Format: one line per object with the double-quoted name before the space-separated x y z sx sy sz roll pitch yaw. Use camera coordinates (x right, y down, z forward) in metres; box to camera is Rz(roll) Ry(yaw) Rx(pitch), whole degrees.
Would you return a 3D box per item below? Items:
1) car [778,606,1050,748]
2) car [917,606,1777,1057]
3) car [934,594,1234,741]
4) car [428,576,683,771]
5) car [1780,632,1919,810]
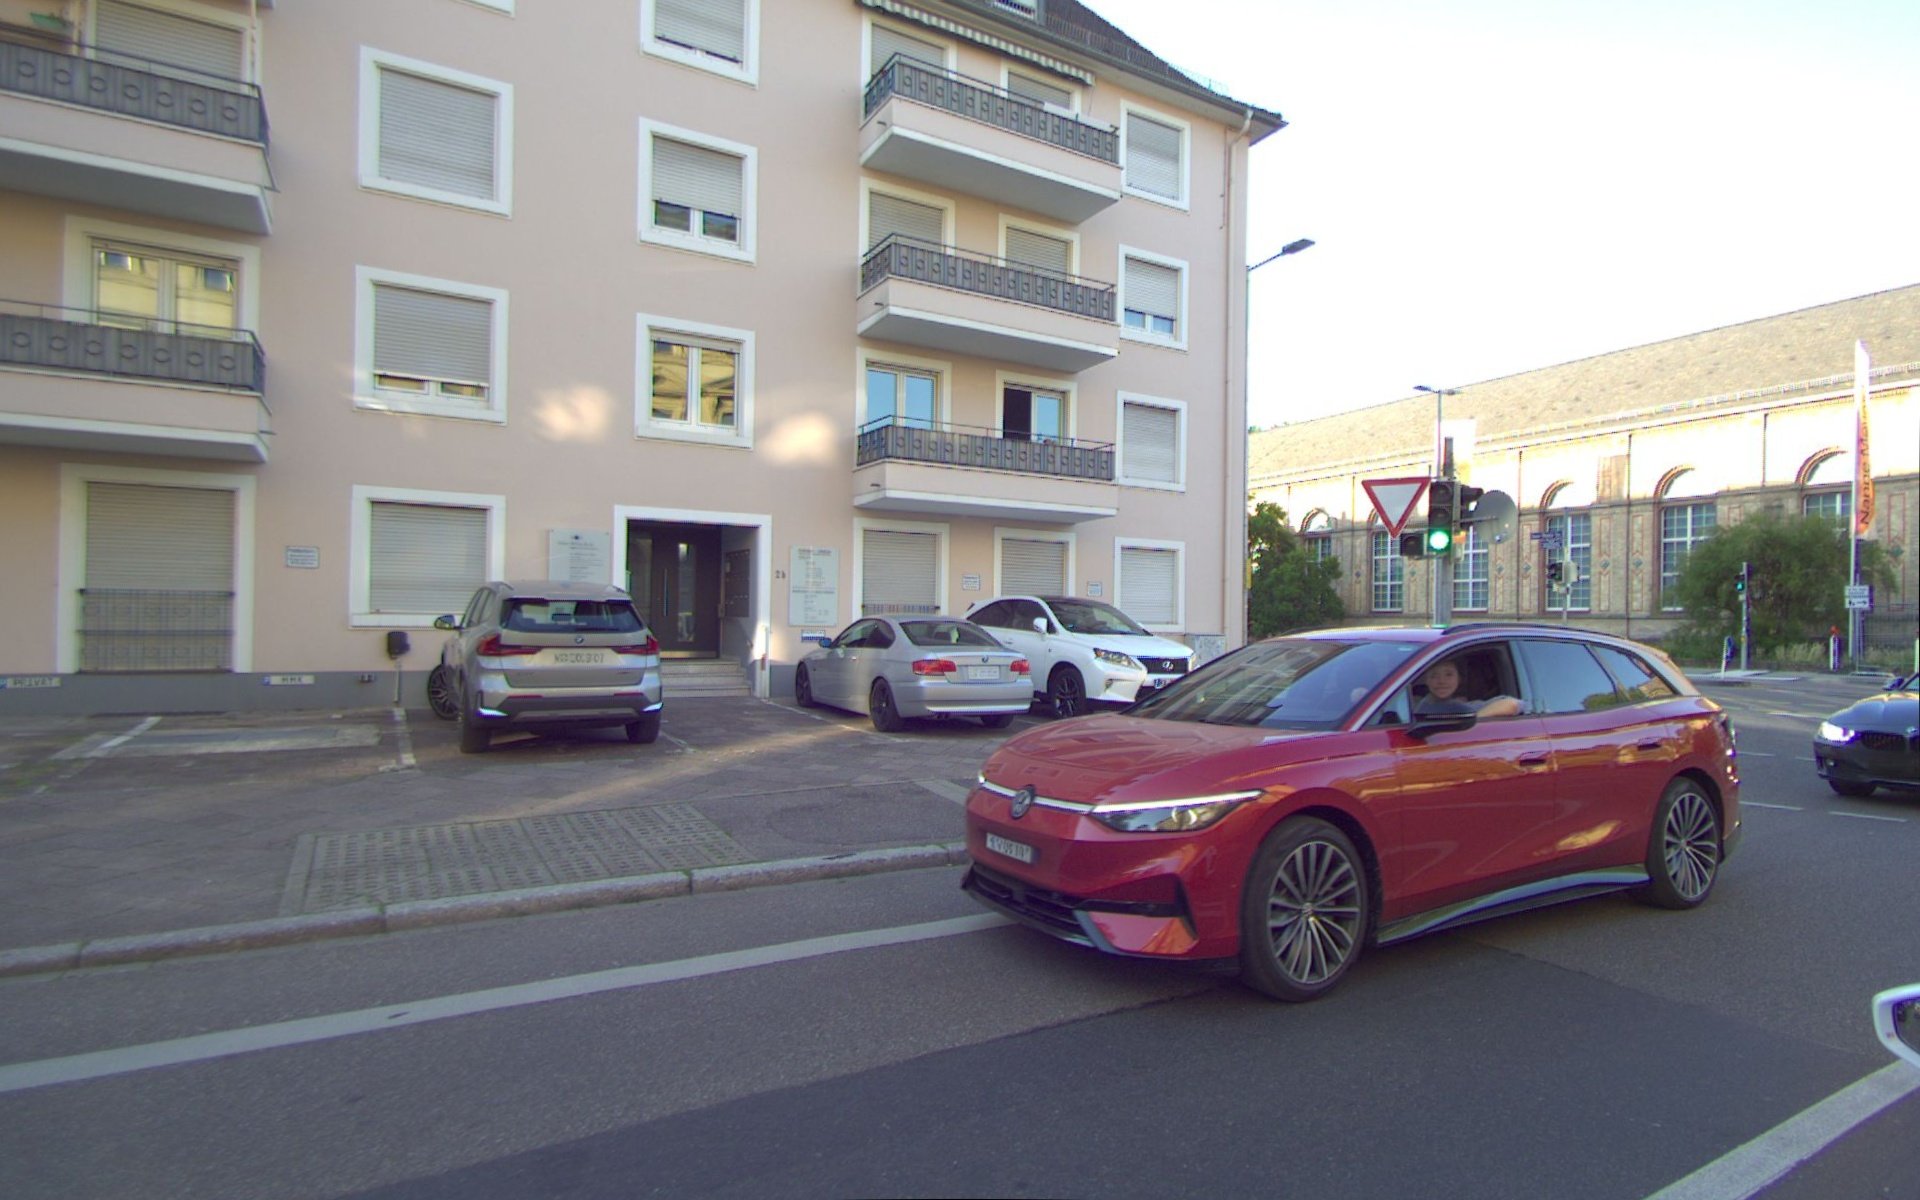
"car" -0.780 0.849 13.022 1.716 1.399 4.244 1 1 -31
"car" 2.293 0.854 5.505 4.790 1.566 1.822 1 -2 -30
"car" 1.554 0.805 14.294 1.920 1.663 4.417 1 1 -31
"car" -4.534 0.588 10.814 1.894 1.626 4.395 1 1 -31
"car" 9.954 1.058 9.313 4.359 1.478 1.779 1 -2 -22
